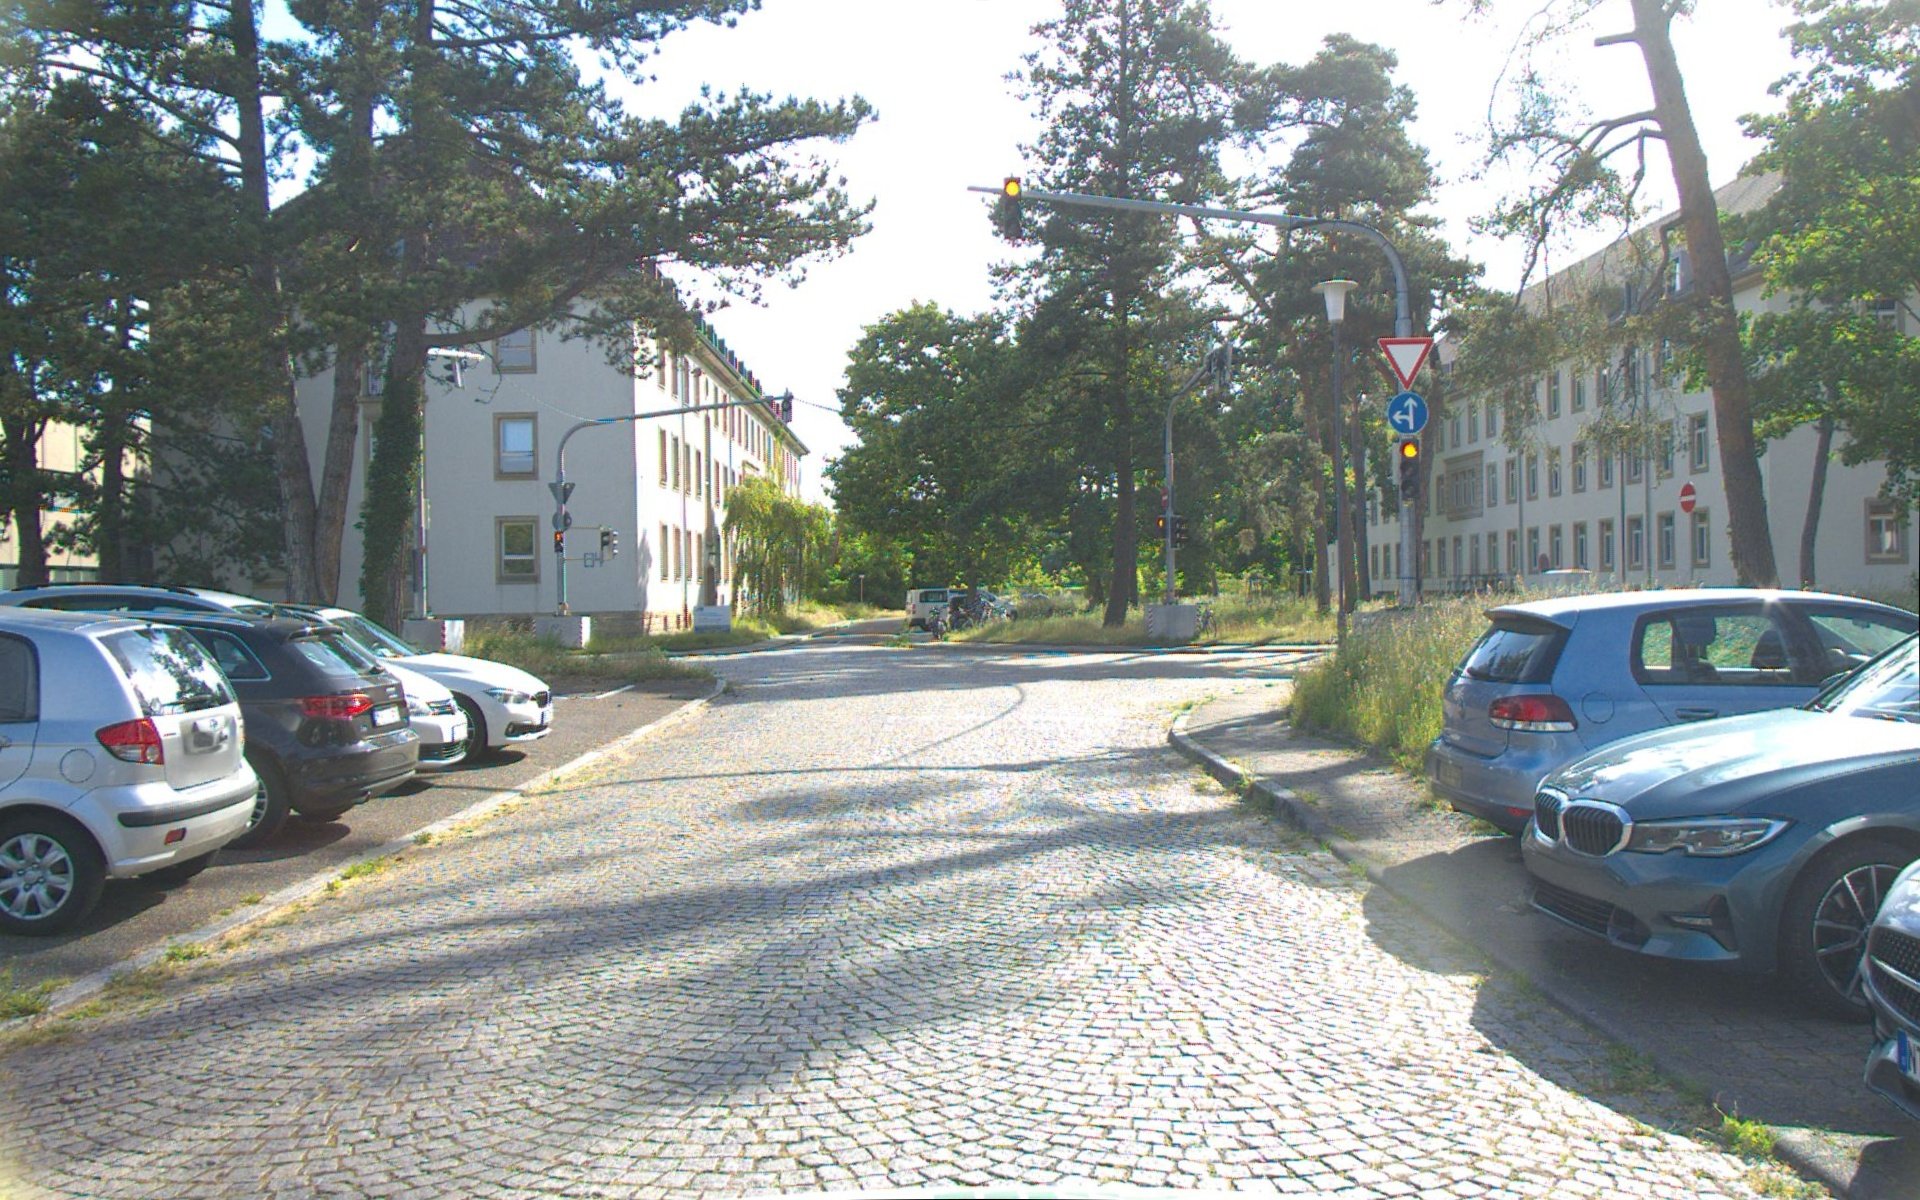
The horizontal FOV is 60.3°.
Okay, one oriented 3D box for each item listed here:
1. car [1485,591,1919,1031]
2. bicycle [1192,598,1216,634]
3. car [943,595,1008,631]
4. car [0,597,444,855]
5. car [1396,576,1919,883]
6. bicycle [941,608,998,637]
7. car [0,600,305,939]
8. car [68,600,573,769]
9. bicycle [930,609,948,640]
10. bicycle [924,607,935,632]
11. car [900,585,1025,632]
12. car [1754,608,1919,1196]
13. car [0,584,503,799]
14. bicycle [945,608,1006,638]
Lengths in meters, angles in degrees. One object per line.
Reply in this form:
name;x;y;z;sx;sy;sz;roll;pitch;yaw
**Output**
car;4.613;0.676;6.621;4.466;1.440;1.636;-3;1;0
bicycle;6.815;0.451;46.207;0.294;0.977;1.584;1;-1;-4
car;0.664;0.565;72.686;2.727;1.492;1.669;1;-1;-5
car;-5.643;0.765;10.928;3.908;1.506;1.802;1;0;-4
car;4.608;0.643;9.371;3.803;1.440;1.636;-3;1;0
bicycle;0.344;0.809;59.919;1.967;1.028;0.631;1;-1;-8
car;-5.463;0.763;8.313;3.672;1.513;1.645;1;0;-4
car;-6.149;0.795;16.318;4.248;1.494;1.829;1;0;-4
bicycle;-0.694;0.800;54.564;0.458;1.028;1.584;1;-1;-4
bicycle;-1.237;0.805;67.836;0.409;1.028;1.483;1;-1;0
car;0.122;0.414;76.171;5.437;2.049;1.989;1;-1;-19
car;4.546;0.677;4.022;4.342;1.440;1.781;-3;1;0
car;-6.108;0.721;13.950;3.999;1.621;1.884;1;0;-4
bicycle;0.529;0.798;58.208;2.070;1.028;0.620;1;-1;-8
